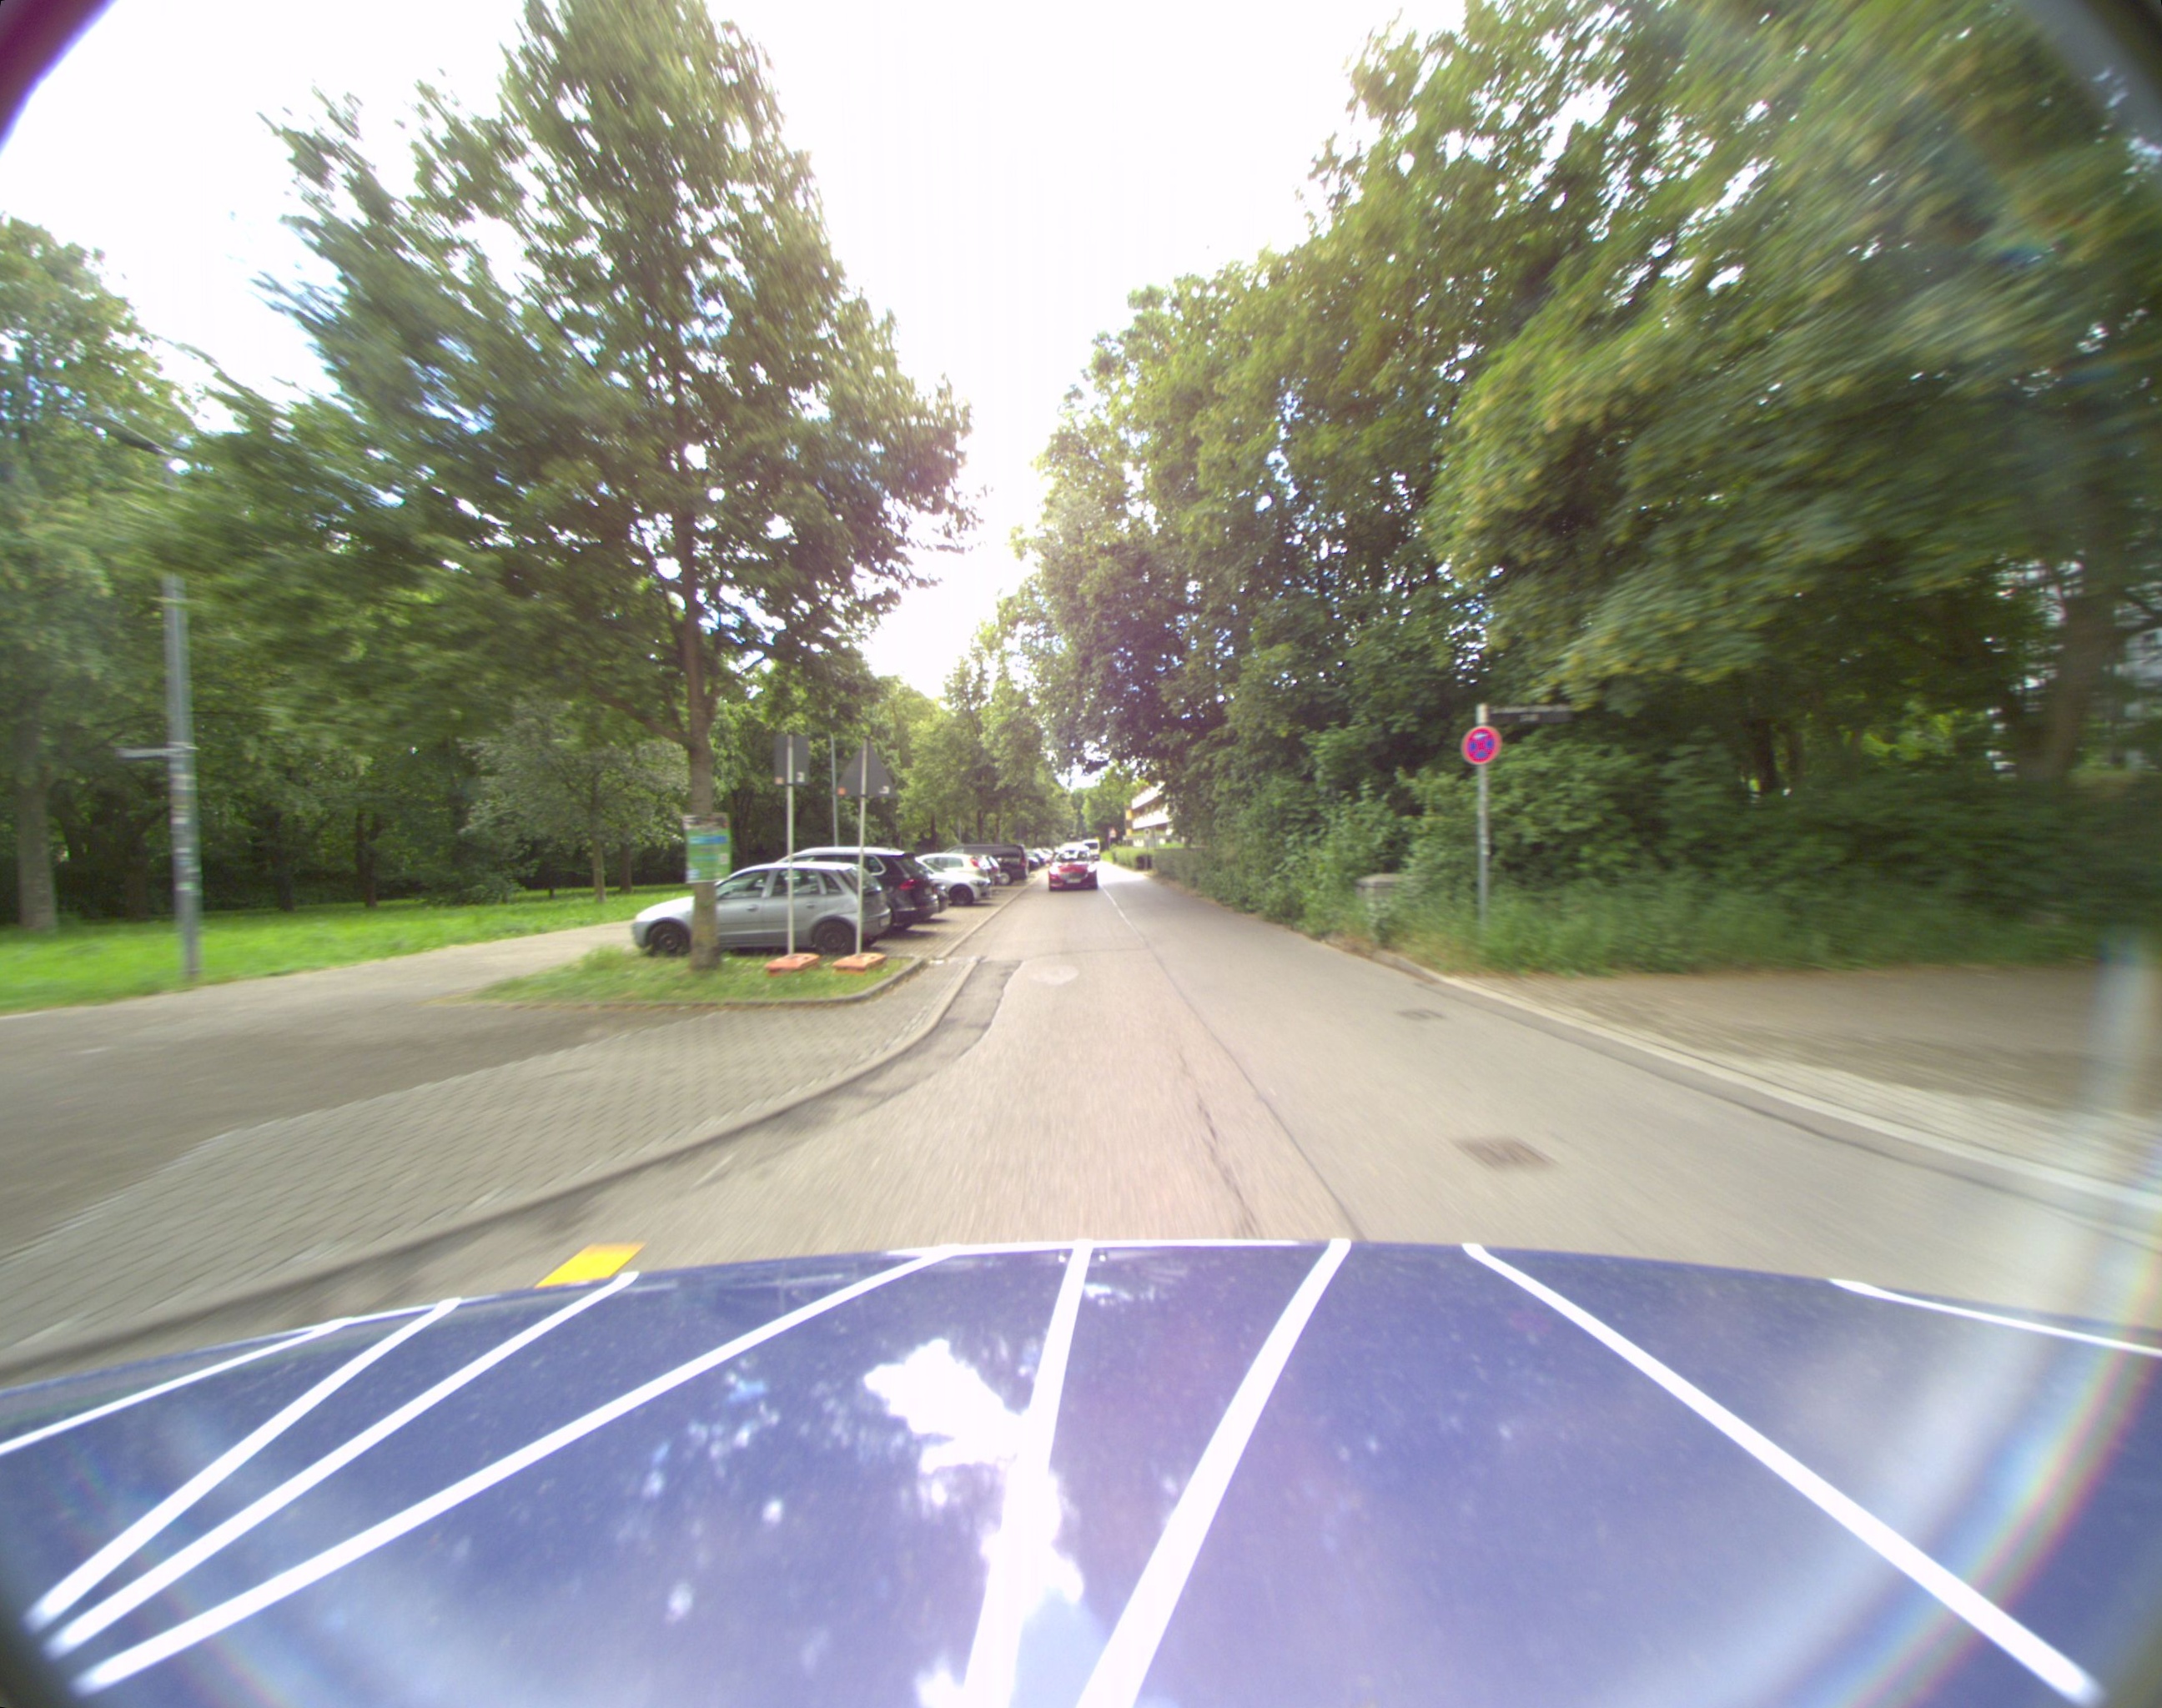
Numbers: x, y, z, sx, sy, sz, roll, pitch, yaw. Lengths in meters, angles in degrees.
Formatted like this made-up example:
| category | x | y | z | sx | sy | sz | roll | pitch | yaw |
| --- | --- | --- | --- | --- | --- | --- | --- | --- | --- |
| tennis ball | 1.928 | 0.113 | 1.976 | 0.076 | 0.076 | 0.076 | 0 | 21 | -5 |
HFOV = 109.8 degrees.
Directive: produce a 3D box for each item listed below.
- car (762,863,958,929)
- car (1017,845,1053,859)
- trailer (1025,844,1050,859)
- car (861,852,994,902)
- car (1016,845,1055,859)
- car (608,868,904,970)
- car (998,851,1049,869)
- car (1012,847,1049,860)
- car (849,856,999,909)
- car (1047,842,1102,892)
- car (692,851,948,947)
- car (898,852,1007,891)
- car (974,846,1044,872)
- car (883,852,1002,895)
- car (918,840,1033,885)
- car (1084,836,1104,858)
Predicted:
| category | x | y | z | sx | sy | sz | roll | pitch | yaw |
| --- | --- | --- | --- | --- | --- | --- | --- | --- | --- |
| car | -4.904 | 0.921 | 17.236 | 3.841 | 1.351 | 1.822 | -1 | 1 | 3 |
| car | -5.263 | -0.257 | 87.512 | 4.124 | 1.539 | 1.860 | -1 | 1 | -3 |
| trailer | -5.294 | -0.307 | 92.799 | 3.038 | 1.780 | 1.562 | -1 | 1 | -3 |
| car | -4.993 | 0.742 | 25.118 | 3.997 | 1.519 | 1.810 | -1 | 1 | 0 |
| car | -5.825 | -0.255 | 97.898 | 4.829 | 1.683 | 1.974 | 0 | 1 | 3 |
| car | -4.964 | 0.964 | 12.020 | 3.841 | 1.395 | 1.852 | -1 | 1 | 1 |
| car | -4.803 | 0.476 | 63.428 | 4.083 | 1.448 | 1.851 | -1 | 1 | 0 |
| car | -5.653 | -0.114 | 85.092 | 4.020 | 1.414 | 1.791 | -1 | 1 | -6 |
| car | -4.521 | 0.803 | 22.346 | 3.997 | 1.422 | 1.935 | -1 | 1 | -1 |
| car | -0.262 | 0.453 | 30.289 | 1.918 | 1.707 | 5.037 | -3 | 1 | -1 |
| car | -4.819 | 0.806 | 14.484 | 4.133 | 1.640 | 1.980 | -1 | 1 | 3 |
| car | -5.012 | 0.664 | 29.958 | 3.971 | 1.502 | 1.793 | 0 | 1 | 1 |
| car | -4.744 | 0.352 | 50.567 | 4.426 | 1.666 | 2.082 | 0 | 0 | -1 |
| car | -4.972 | 0.674 | 27.622 | 3.970 | 1.502 | 1.763 | 0 | 1 | 2 |
| car | -4.777 | 0.358 | 34.930 | 4.966 | 2.002 | 2.165 | 0 | 1 | 1 |
| car | 1.530 | -0.852 | 90.600 | 2.137 | 2.461 | 6.276 | -3 | 0 | 1 |
